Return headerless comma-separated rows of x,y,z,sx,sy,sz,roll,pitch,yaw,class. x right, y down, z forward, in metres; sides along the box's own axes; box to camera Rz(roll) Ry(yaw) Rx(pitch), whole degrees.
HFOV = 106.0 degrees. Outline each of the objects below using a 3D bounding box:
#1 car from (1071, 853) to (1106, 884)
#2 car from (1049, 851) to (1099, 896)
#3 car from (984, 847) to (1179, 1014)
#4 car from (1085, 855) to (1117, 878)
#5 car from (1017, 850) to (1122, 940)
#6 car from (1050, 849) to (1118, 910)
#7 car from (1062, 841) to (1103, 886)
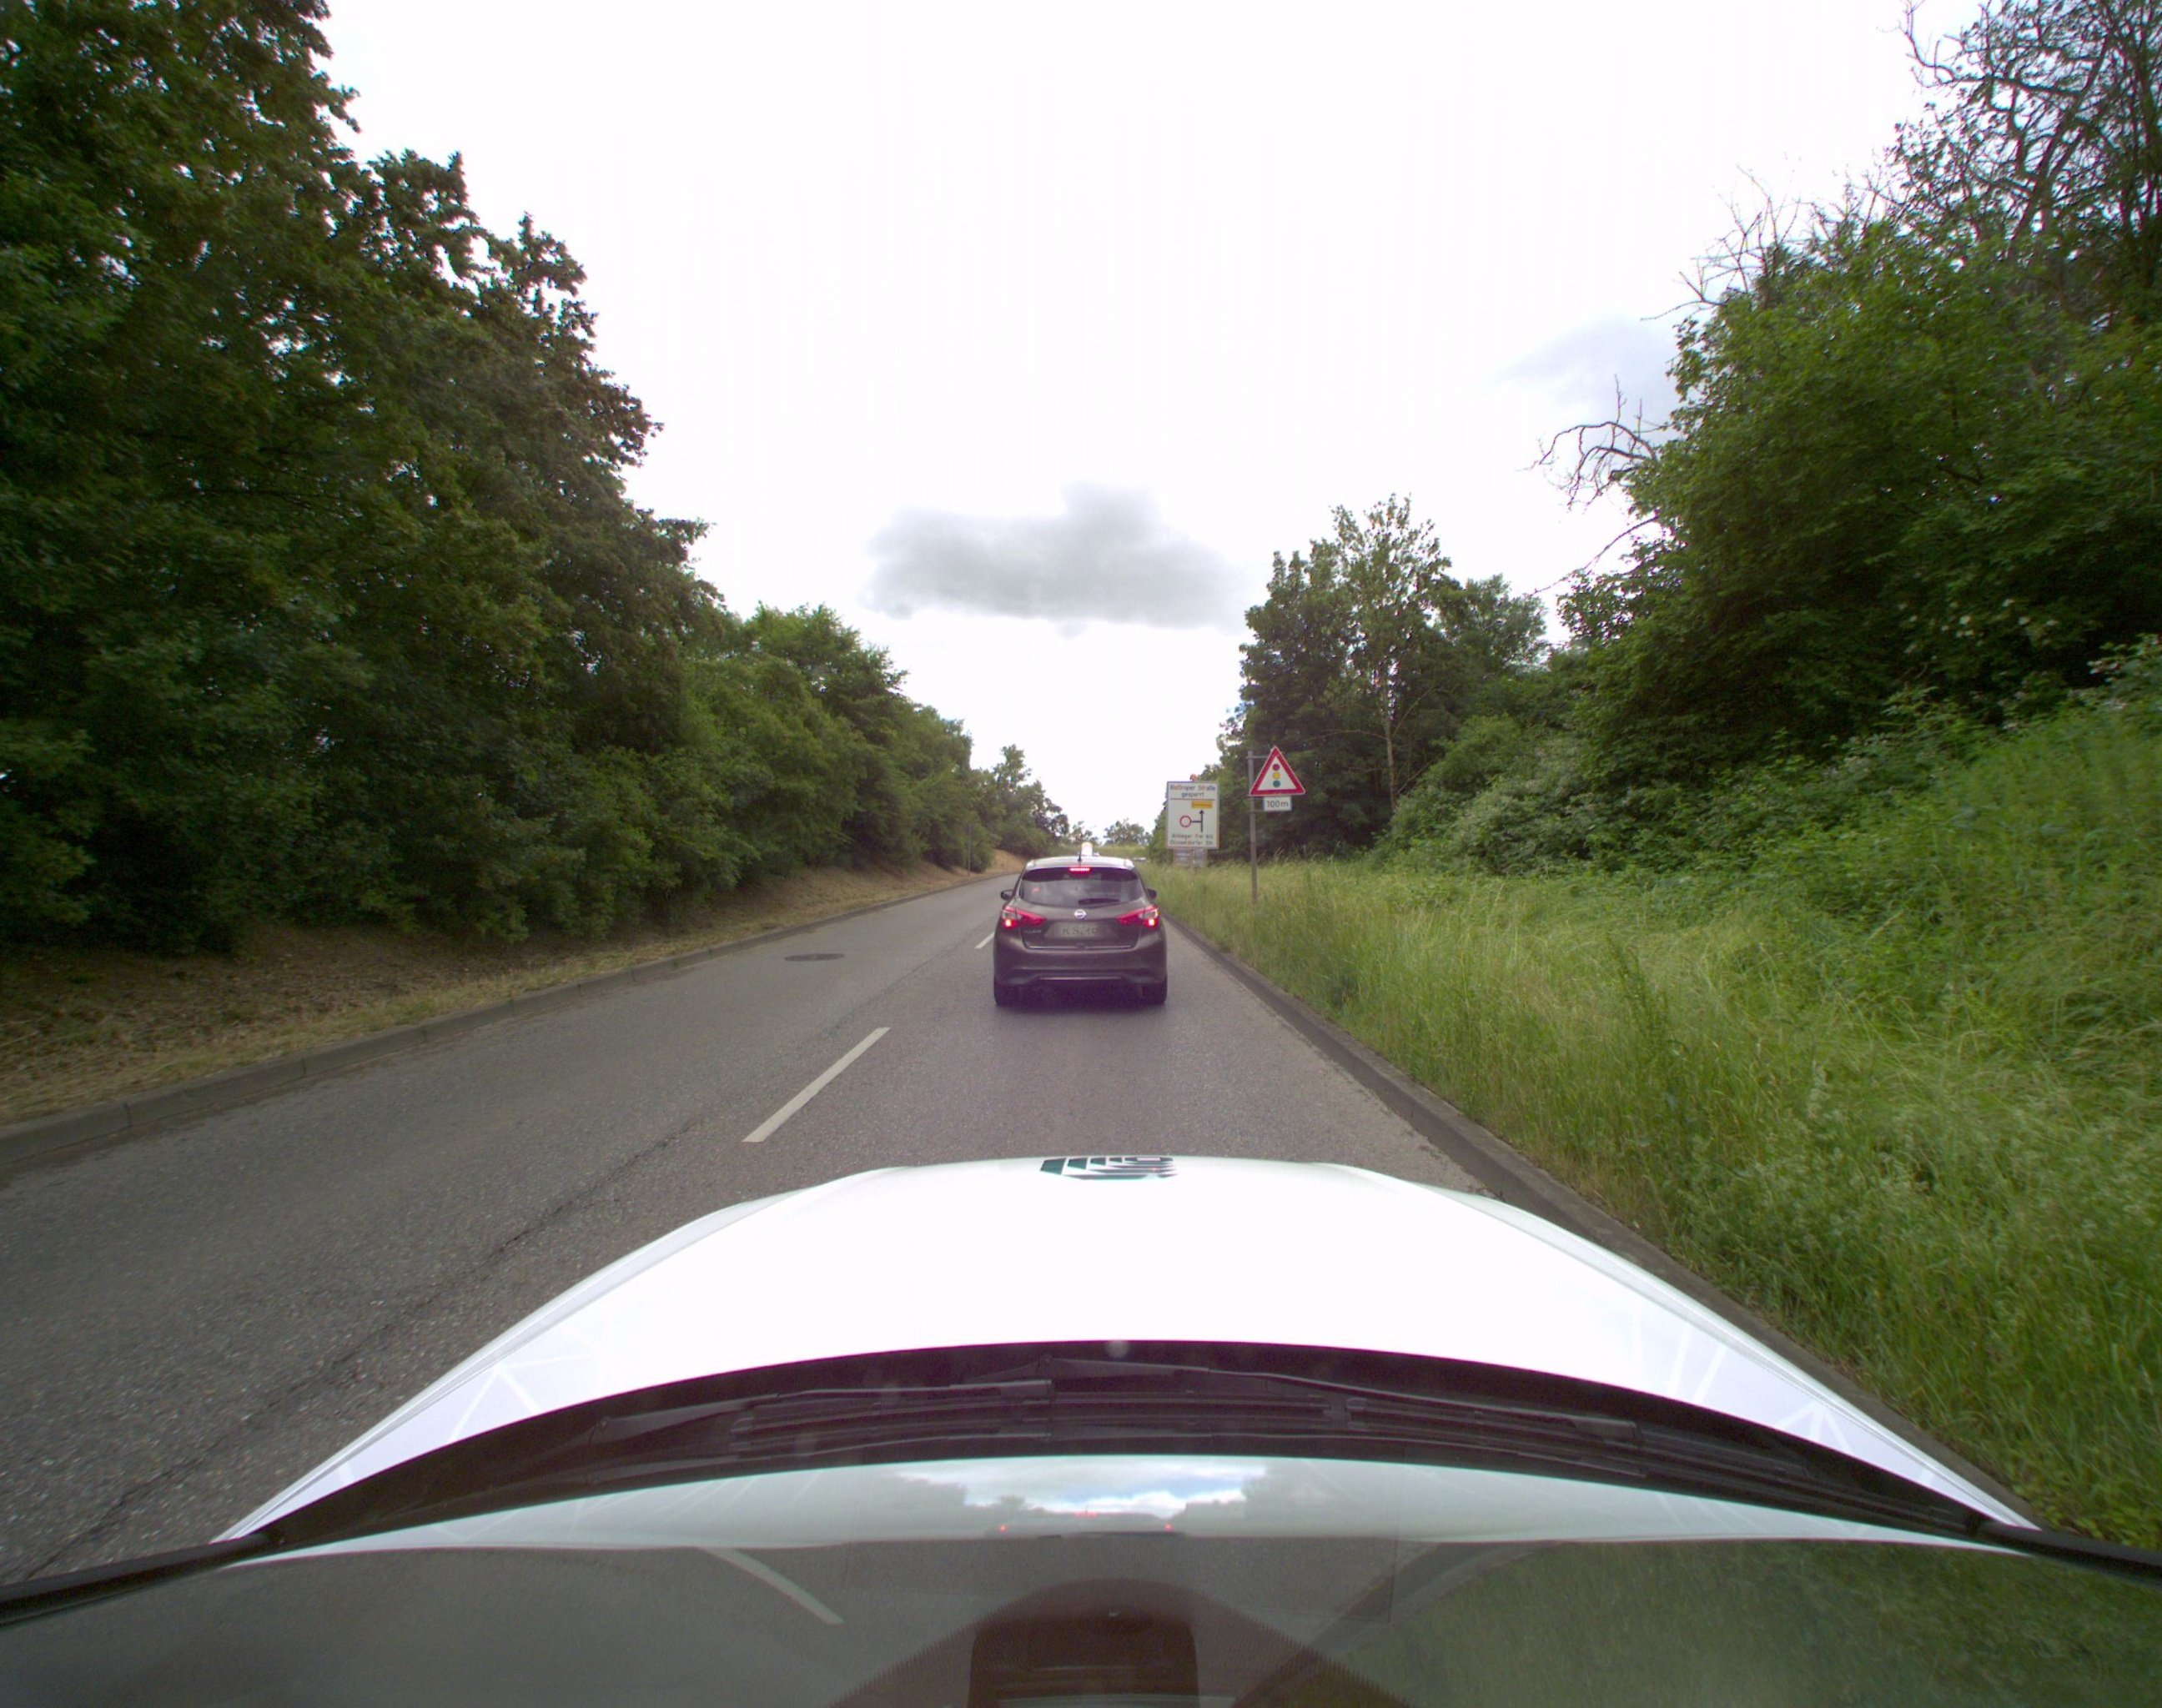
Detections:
0.397,0.744,43.151,1.730,1.526,3.543,-1,0,0,car
-0.195,0.683,30.636,1.730,1.556,3.544,-1,0,1,car
-0.012,0.715,9.436,1.825,1.556,3.498,-1,0,-1,car
1.477,0.893,57.970,1.725,1.526,3.652,-1,0,10,car
-0.158,0.723,16.319,1.823,1.556,3.625,-1,0,1,car
0.111,0.659,22.964,1.730,1.556,3.544,-1,0,1,car
0.111,0.408,37.830,1.729,1.935,3.545,-1,0,2,car
